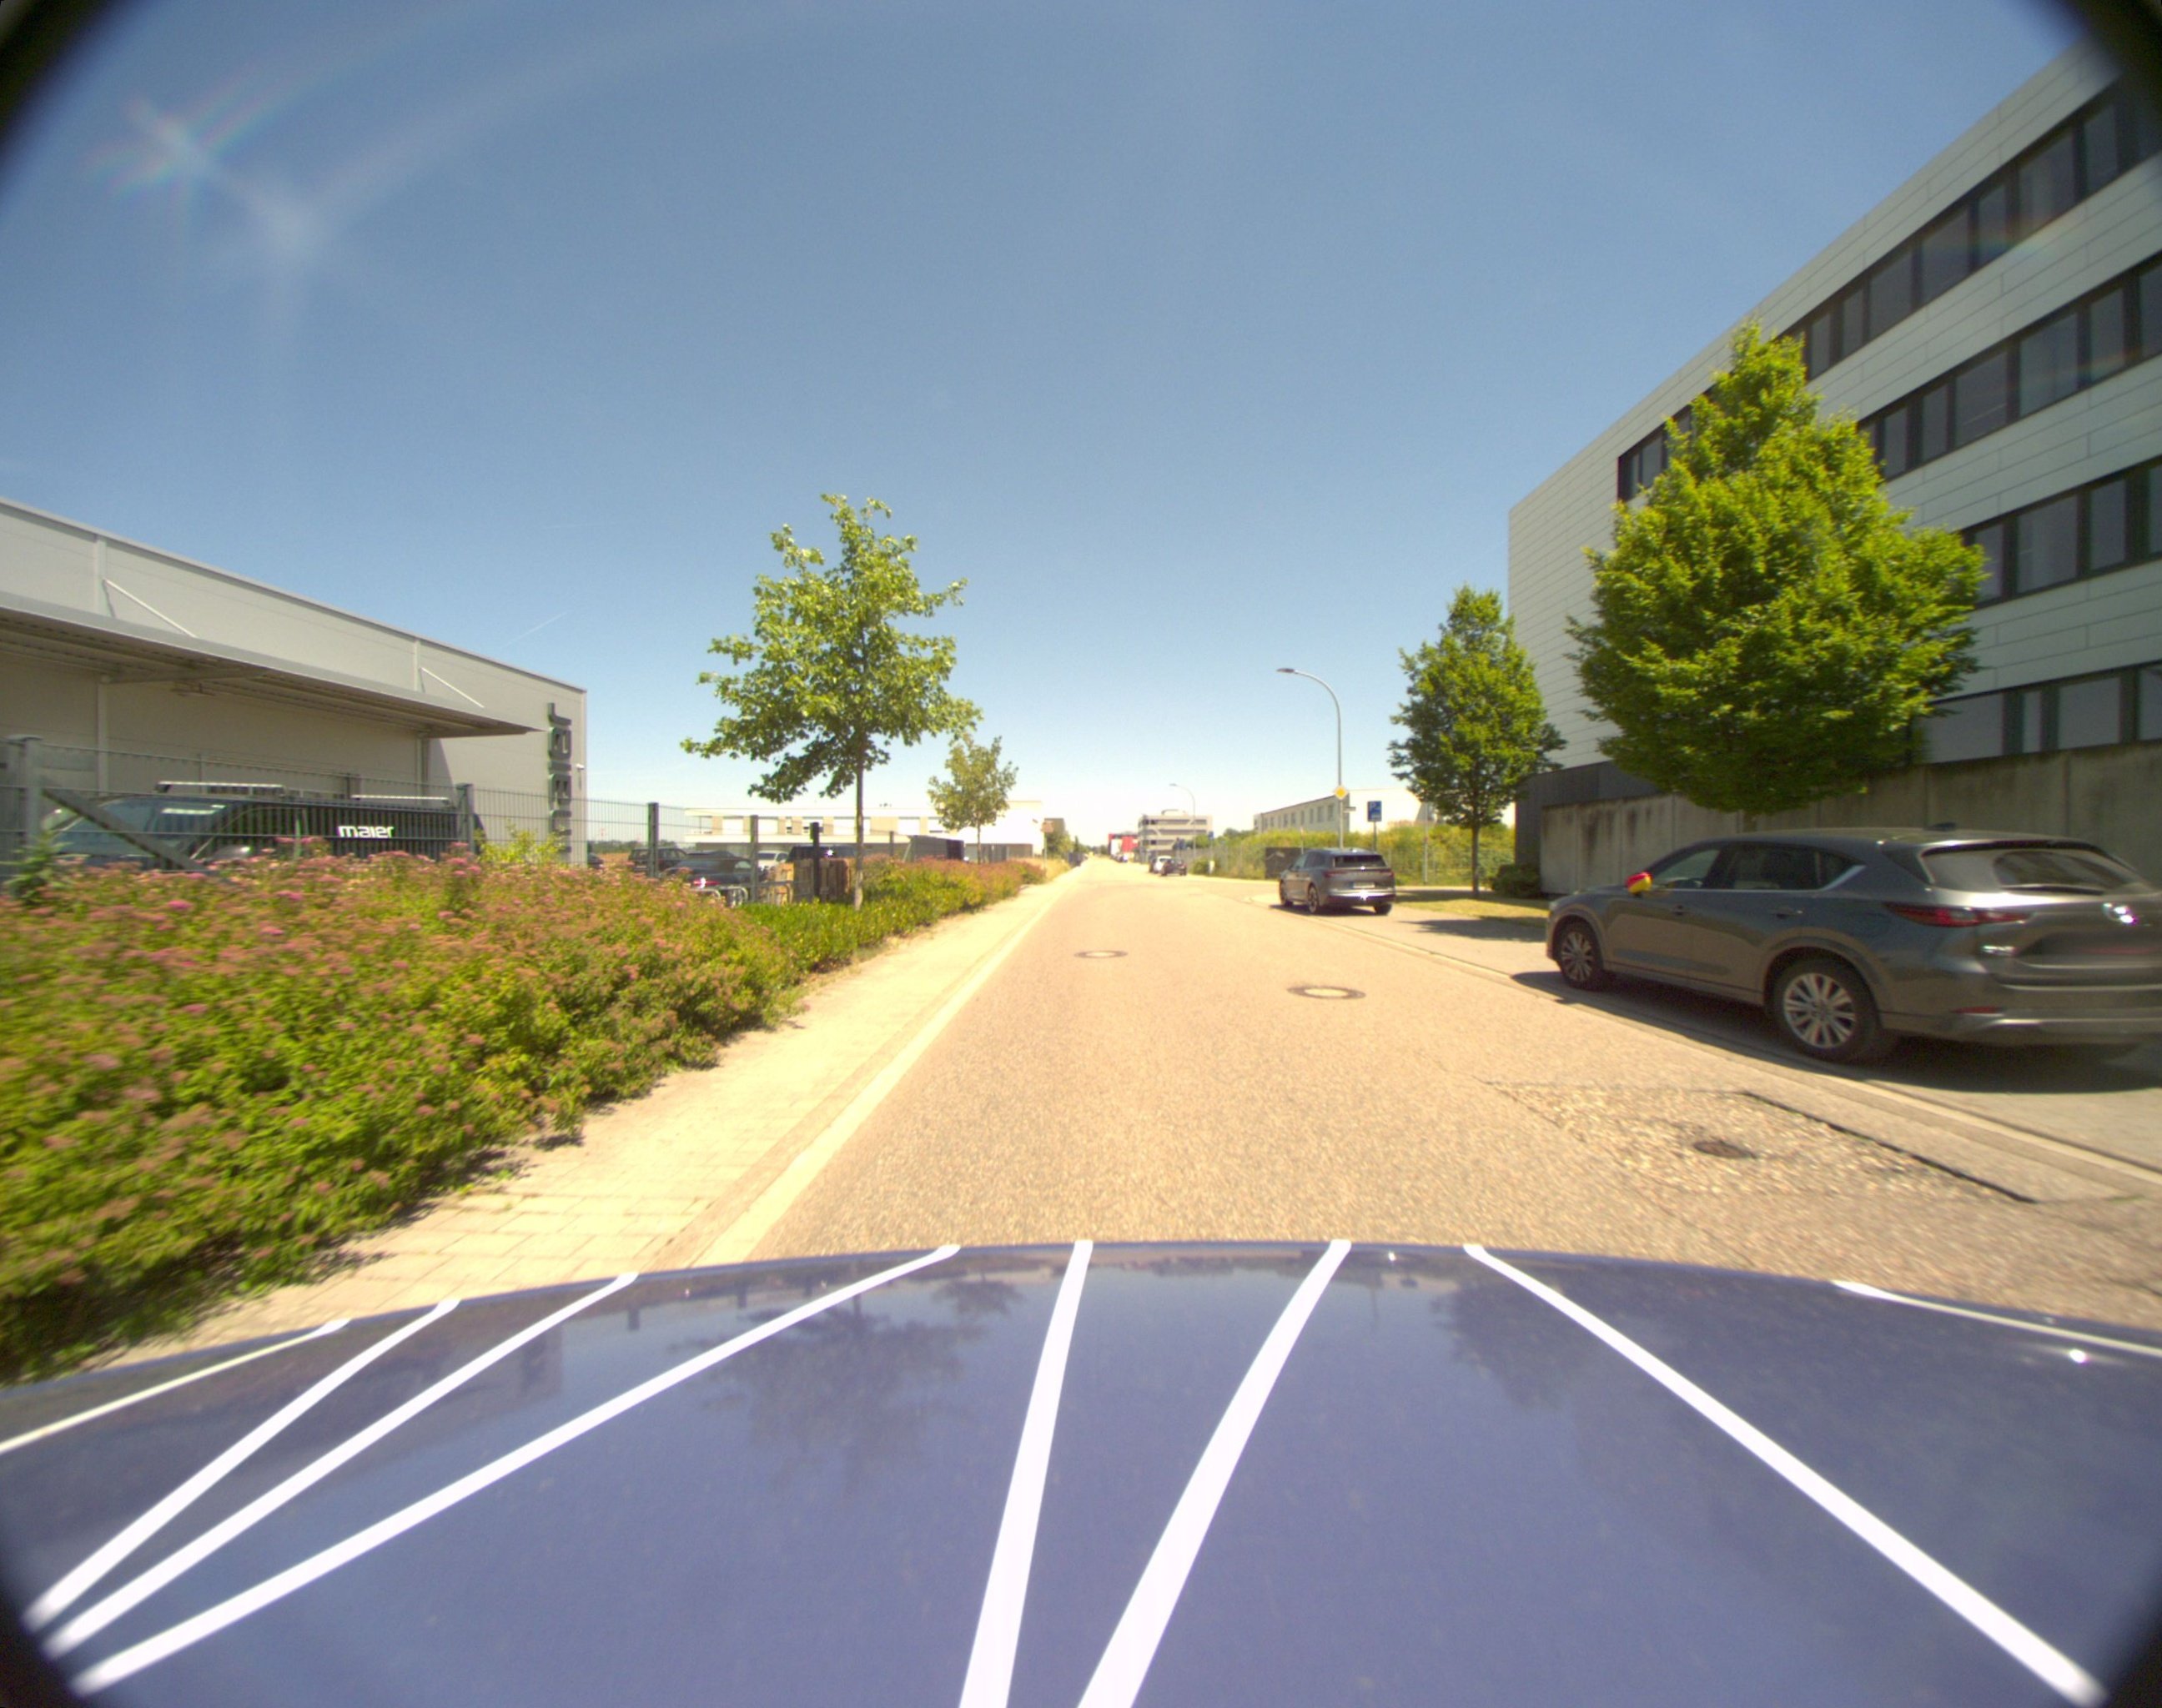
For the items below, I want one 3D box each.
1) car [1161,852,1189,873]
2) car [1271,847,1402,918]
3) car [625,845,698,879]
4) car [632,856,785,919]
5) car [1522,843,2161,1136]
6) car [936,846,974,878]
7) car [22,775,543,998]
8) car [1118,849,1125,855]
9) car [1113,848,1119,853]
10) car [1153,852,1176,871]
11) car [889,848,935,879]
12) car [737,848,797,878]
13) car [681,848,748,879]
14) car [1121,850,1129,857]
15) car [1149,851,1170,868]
[{"bbox_3d":[7.249,0.608,58.929,1.678,1.442,4.068,-4,1,1],"label":"car"},{"bbox_3d":[6.344,0.643,19.447,1.775,1.578,4.480,-1,0,-1],"label":"car"},{"bbox_3d":[-20.837,0.364,37.928,1.518,1.624,3.783,0,1,0],"label":"car"},{"bbox_3d":[-8.604,0.704,17.936,1.622,1.265,3.879,0,1,1],"label":"car"},{"bbox_3d":[6.020,0.742,6.600,1.775,1.614,4.581,-2,1,1],"label":"car"},{"bbox_3d":[-6.468,0.399,39.334,1.470,1.565,2.661,0,1,1],"label":"car"},{"bbox_3d":[-9.074,0.291,9.317,1.881,2.075,4.225,1,1,1],"label":"car"},{"bbox_3d":[10.900,-0.650,205.299,1.772,1.521,3.778,-2,1,2],"label":"car"},{"bbox_3d":[11.652,-1.076,251.836,1.772,1.521,3.778,-2,1,2],"label":"car"},{"bbox_3d":[7.476,0.647,68.233,1.678,1.521,3.757,-4,1,1],"label":"car"},{"bbox_3d":[-8.430,0.448,38.140,1.518,1.487,3.331,0,1,0],"label":"car"},{"bbox_3d":[-15.563,0.406,37.806,1.518,1.389,3.540,0,1,0],"label":"car"},{"bbox_3d":[-18.140,0.433,37.798,1.518,1.422,3.783,0,1,0],"label":"car"},{"bbox_3d":[9.870,-0.138,169.718,1.694,1.481,3.660,-2,1,2],"label":"car"},{"bbox_3d":[7.658,0.527,74.641,1.678,1.521,3.909,-1,1,1],"label":"car"}]
